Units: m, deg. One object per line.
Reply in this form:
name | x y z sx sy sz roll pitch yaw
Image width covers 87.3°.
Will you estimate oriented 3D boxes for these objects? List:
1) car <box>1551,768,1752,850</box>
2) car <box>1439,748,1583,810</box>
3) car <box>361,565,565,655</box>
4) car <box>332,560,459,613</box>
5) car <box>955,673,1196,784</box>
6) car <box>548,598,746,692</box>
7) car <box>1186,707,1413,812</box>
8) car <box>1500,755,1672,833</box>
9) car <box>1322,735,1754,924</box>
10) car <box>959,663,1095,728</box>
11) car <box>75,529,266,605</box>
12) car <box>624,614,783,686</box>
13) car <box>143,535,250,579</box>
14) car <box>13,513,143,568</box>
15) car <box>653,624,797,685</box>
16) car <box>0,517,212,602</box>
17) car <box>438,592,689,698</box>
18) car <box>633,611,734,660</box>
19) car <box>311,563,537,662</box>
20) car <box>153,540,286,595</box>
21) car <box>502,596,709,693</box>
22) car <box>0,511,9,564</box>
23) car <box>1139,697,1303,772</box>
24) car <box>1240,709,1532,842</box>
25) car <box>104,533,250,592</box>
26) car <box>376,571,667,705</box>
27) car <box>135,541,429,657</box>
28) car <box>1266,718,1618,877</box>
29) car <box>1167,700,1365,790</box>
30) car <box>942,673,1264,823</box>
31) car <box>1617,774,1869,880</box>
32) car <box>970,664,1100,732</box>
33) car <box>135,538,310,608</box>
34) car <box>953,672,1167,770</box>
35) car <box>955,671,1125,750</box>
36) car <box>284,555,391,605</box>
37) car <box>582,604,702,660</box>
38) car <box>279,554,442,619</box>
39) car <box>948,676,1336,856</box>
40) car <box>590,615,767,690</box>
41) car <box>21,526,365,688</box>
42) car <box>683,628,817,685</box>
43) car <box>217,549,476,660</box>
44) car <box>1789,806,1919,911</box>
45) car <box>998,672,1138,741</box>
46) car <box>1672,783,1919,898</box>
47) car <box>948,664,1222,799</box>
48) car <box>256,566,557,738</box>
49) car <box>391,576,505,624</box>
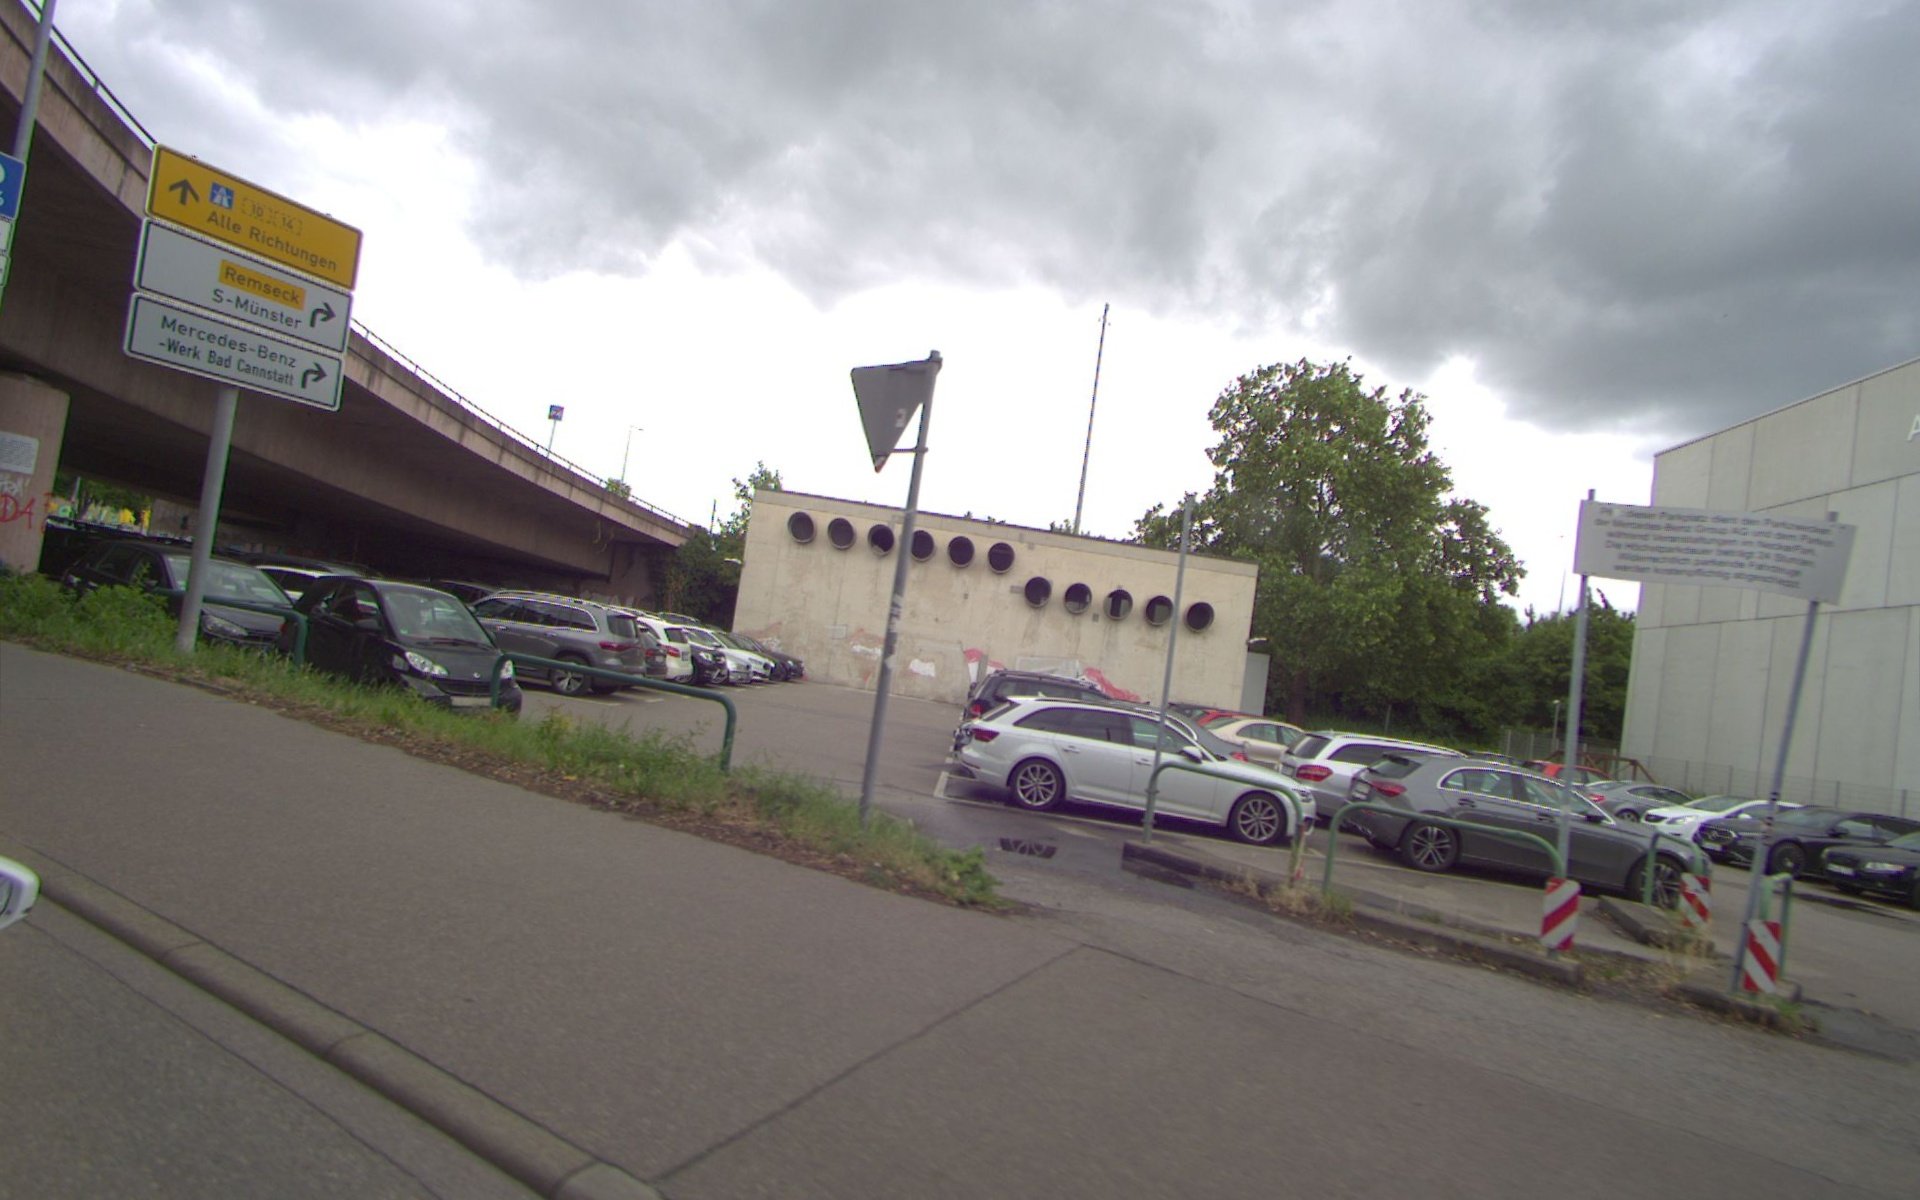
car | 18.392 5.550 26.880 4.122 1.313 1.699 9 -3 -1
car | 18.799 6.085 34.408 3.973 1.352 1.498 9 -2 -1
car | -12.609 0.300 25.715 4.115 1.610 1.841 9 -3 2
car | -23.585 -0.558 42.102 4.115 1.481 1.841 9 -3 2
car | 2.282 2.577 20.611 4.535 1.459 1.861 9 -3 2
car | -7.989 1.171 25.932 4.350 1.709 1.759 9 -3 2
car | 7.584 3.557 22.834 4.416 1.529 1.842 9 -3 4
car | 18.215 5.644 29.374 3.991 1.476 1.498 9 -2 -1
car | 7.255 2.863 13.018 4.359 1.440 1.842 9 -3 4
car | 2.296 3.298 34.955 4.406 1.549 1.772 9 -3 2
car | -23.505 -0.950 30.046 4.115 1.481 1.841 9 -3 2
car | -7.720 1.529 30.541 4.182 1.525 1.711 9 -3 2
car | -38.777 -2.152 51.171 3.795 1.494 1.759 9 -3 -5
car | -38.783 -2.599 44.309 3.795 1.656 1.759 9 -3 -5
car | -7.672 1.808 33.056 4.182 1.319 1.711 9 -3 2
car | -23.438 -1.084 27.714 4.115 1.567 1.841 9 -3 2
car | -8.147 0.958 20.941 4.377 1.464 1.759 9 -3 2
car | -13.186 1.718 48.177 4.115 1.706 1.841 9 -3 2
car | -12.442 0.337 23.523 4.115 1.610 1.841 9 -3 2
car | -29.001 -1.250 39.467 3.791 1.442 1.681 9 -3 2
car | -8.199 1.056 23.520 4.012 1.573 1.759 9 -3 2
car | -29.031 -1.982 27.679 3.791 1.716 1.841 9 -3 2
car | 7.753 3.992 30.191 4.359 1.440 1.842 9 -3 4
car | 7.632 3.137 18.390 4.416 1.529 1.842 9 -3 4
car | -28.745 -1.350 37.030 3.791 1.442 1.841 9 -3 2
car | -7.921 0.722 18.453 4.387 1.693 1.748 9 -3 2
car | -12.557 0.032 18.831 4.115 1.436 1.841 9 -3 2
car | 7.294 2.973 15.606 4.416 1.529 1.842 9 -3 4
car | 7.633 3.619 25.456 4.359 1.440 1.842 9 -3 4
car | 2.148 2.257 15.844 4.600 1.491 1.861 9 -3 2
car | 17.762 5.133 22.946 4.282 1.472 1.777 9 -2 -1
car | 2.385 3.140 32.563 3.902 1.549 1.772 9 -3 2
car | -23.625 -0.848 32.332 4.115 1.481 1.841 9 -3 2
car | 2.221 2.724 23.047 4.535 1.459 1.861 9 -3 2
car | 2.141 2.992 27.538 4.354 1.407 1.788 9 -3 2
car | -28.270 -0.875 45.748 3.595 1.615 1.681 9 -3 2
car | -12.849 1.304 40.804 4.115 1.610 1.841 9 -3 2
car | -23.622 -0.506 39.776 5.012 1.695 2.094 9 -3 2
car | 2.289 2.105 13.370 4.599 1.491 1.861 9 -3 4
car | -7.805 1.477 28.163 4.325 1.378 1.634 9 -3 2
car | -10.090 0.081 13.217 4.174 1.495 1.737 7 -3 26
car | -7.284 1.986 35.204 4.182 1.319 1.711 9 -3 2
car | -12.730 0.148 21.067 4.115 1.610 1.841 9 -3 2
car | 17.615 4.787 17.726 4.279 1.399 1.778 8 -2 5
car | 3.187 3.159 30.209 3.902 1.407 1.772 9 -3 2
car | 17.233 4.870 20.356 4.282 1.472 1.777 9 -2 -1
car | 2.188 2.332 18.317 4.535 1.645 1.861 9 -3 2
car | -6.271 0.599 11.440 2.712 1.495 1.545 7 -3 26
car | -23.470 0.030 46.231 4.115 1.481 1.841 9 -3 2
